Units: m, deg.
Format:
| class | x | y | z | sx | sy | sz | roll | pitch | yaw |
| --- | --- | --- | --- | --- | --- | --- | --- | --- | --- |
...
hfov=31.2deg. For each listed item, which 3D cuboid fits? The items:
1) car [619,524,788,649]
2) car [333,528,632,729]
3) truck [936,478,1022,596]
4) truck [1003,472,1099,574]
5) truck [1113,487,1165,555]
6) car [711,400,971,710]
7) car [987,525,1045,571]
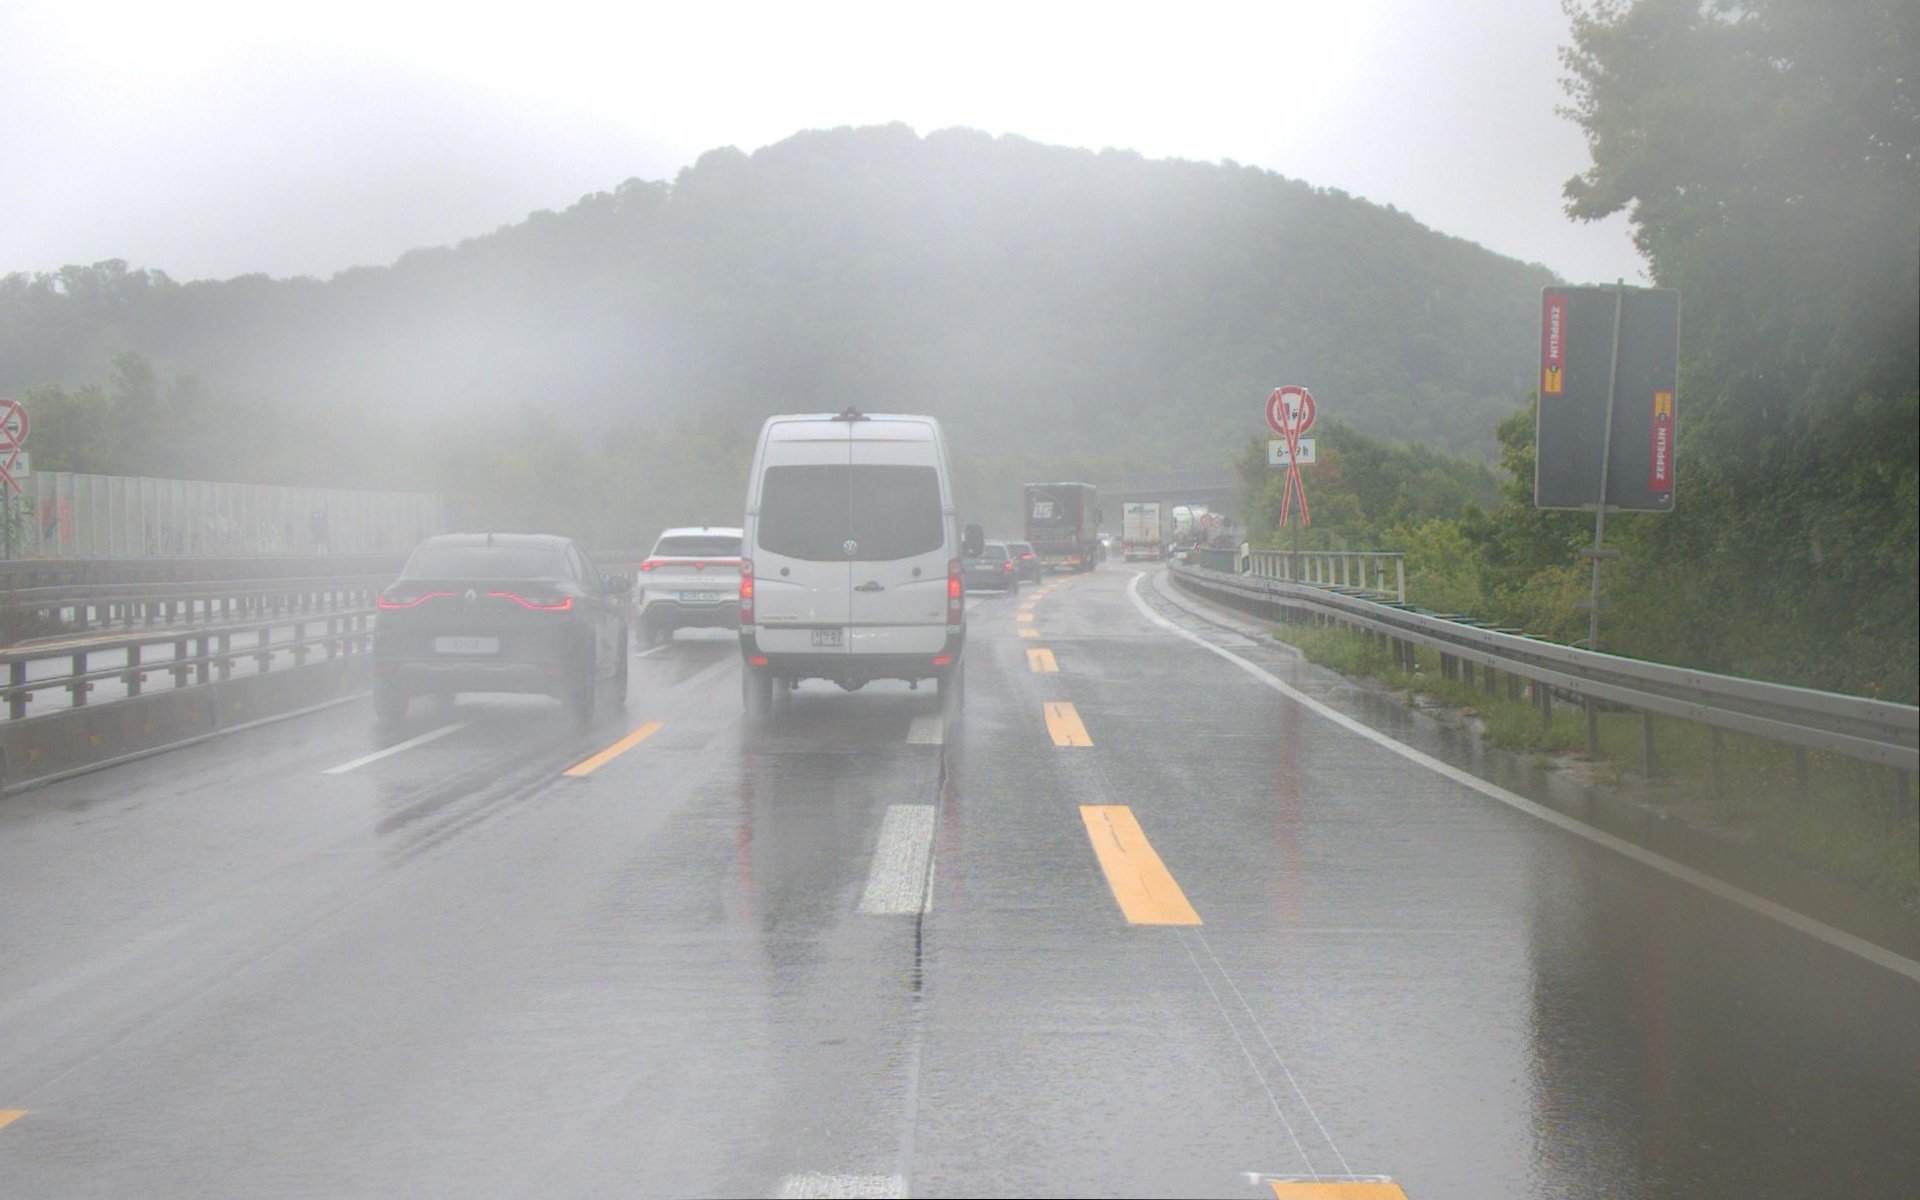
| class | x | y | z | sx | sy | sz | roll | pitch | yaw |
| --- | --- | --- | --- | --- | --- | --- | --- | --- | --- |
| car | -3.501 | -0.202 | 47.678 | 1.993 | 1.612 | 4.796 | 1 | 1 | 0 |
| car | -4.050 | 0.206 | 29.852 | 1.993 | 1.579 | 4.414 | 1 | 1 | -1 |
| truck | 0.579 | -1.707 | 95.509 | 1.994 | 3.098 | 8.498 | 1 | 1 | 3 |
| truck | 4.189 | -3.401 | 155.345 | 3.582 | 4.391 | 9.622 | 1 | 1 | 5 |
| truck | 12.143 | -5.300 | 232.483 | 3.037 | 4.391 | 9.622 | 1 | 1 | 5 |
| car | -1.044 | -0.408 | 31.686 | 2.145 | 2.562 | 5.390 | 1 | 1 | -1 |
| car | 1.891 | -1.723 | 114.885 | 1.774 | 1.470 | 4.000 | 1 | 1 | 3 |
